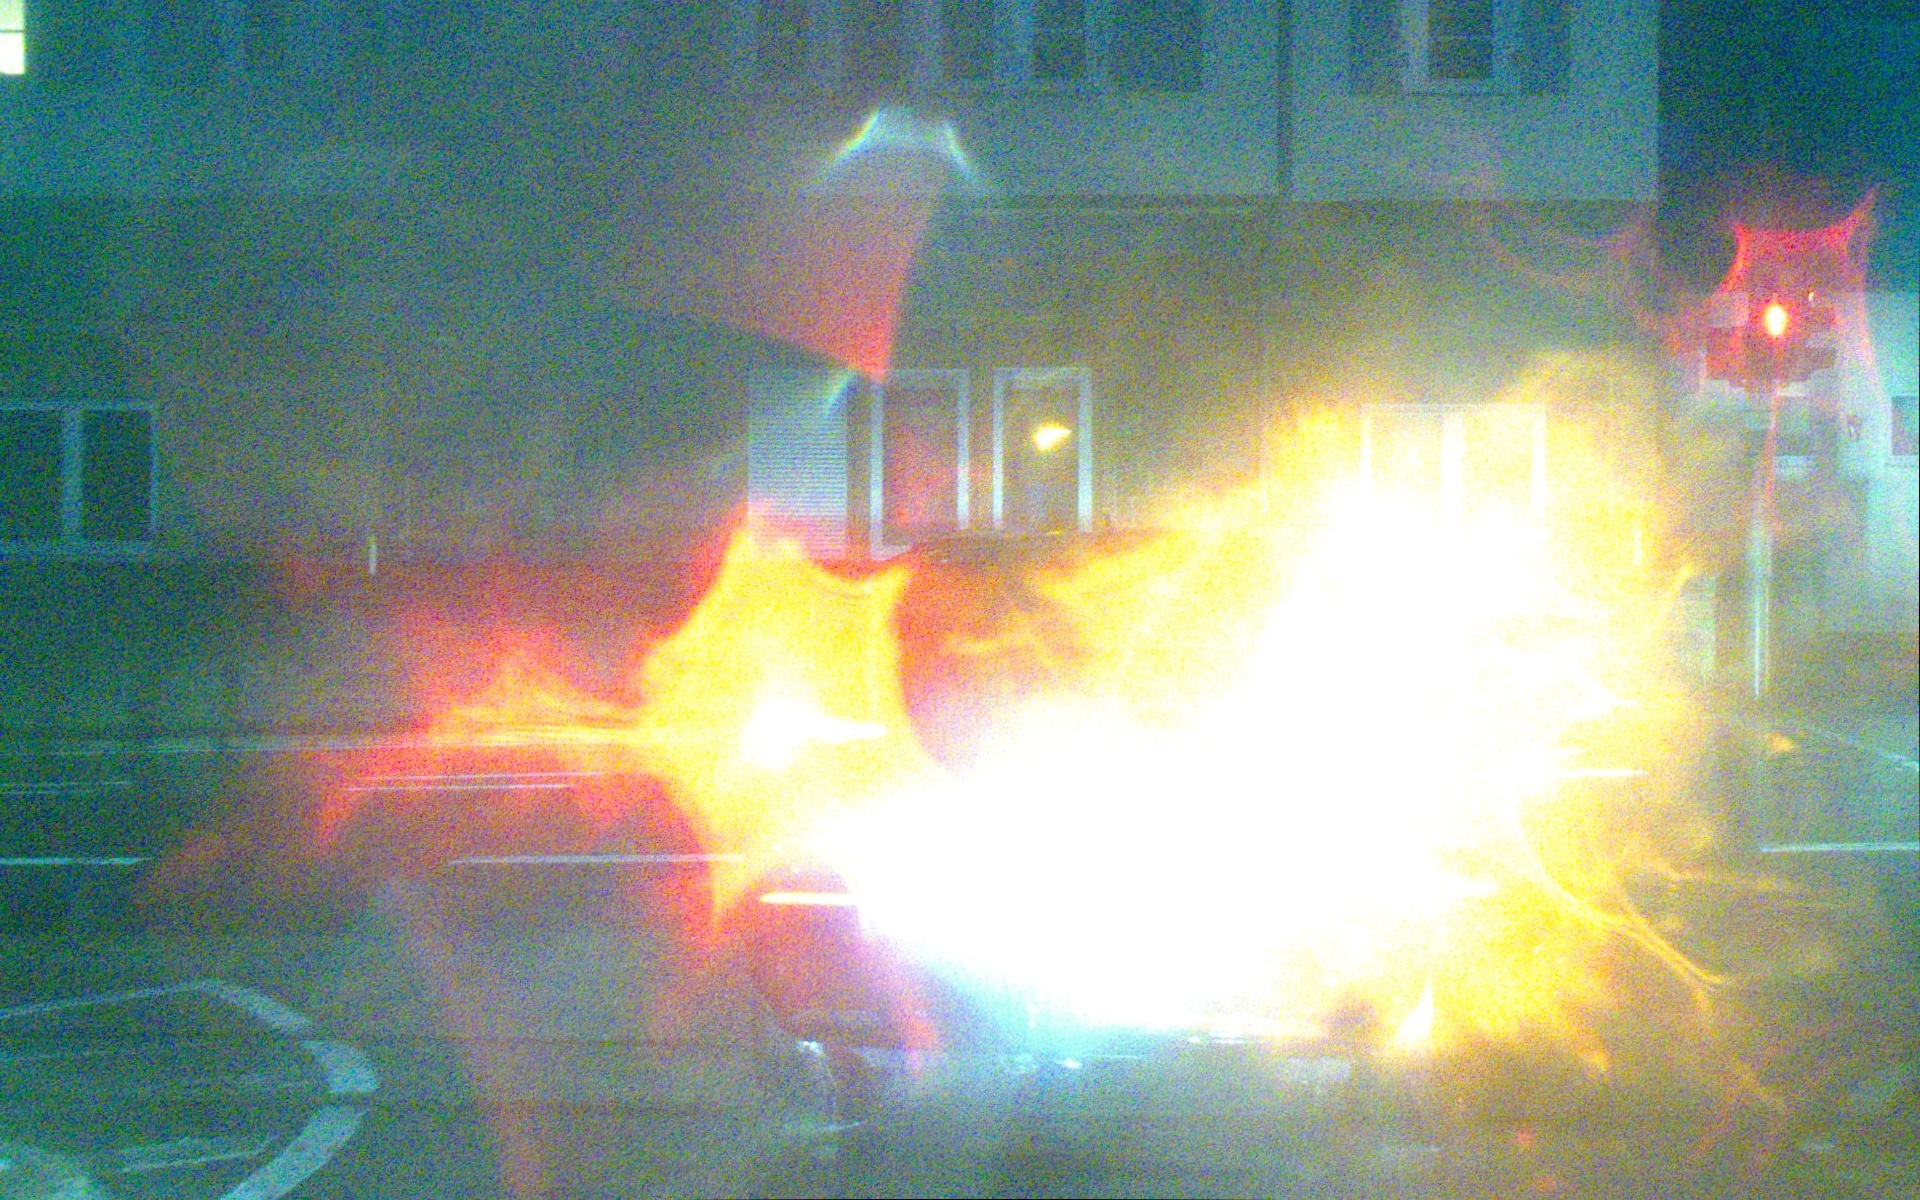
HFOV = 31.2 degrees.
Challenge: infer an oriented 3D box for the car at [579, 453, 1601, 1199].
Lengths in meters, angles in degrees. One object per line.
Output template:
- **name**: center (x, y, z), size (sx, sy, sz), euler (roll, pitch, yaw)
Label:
- **car**: center (0.635, 0.526, 9.967), size (2.059, 1.672, 4.136), euler (2, 0, 15)
